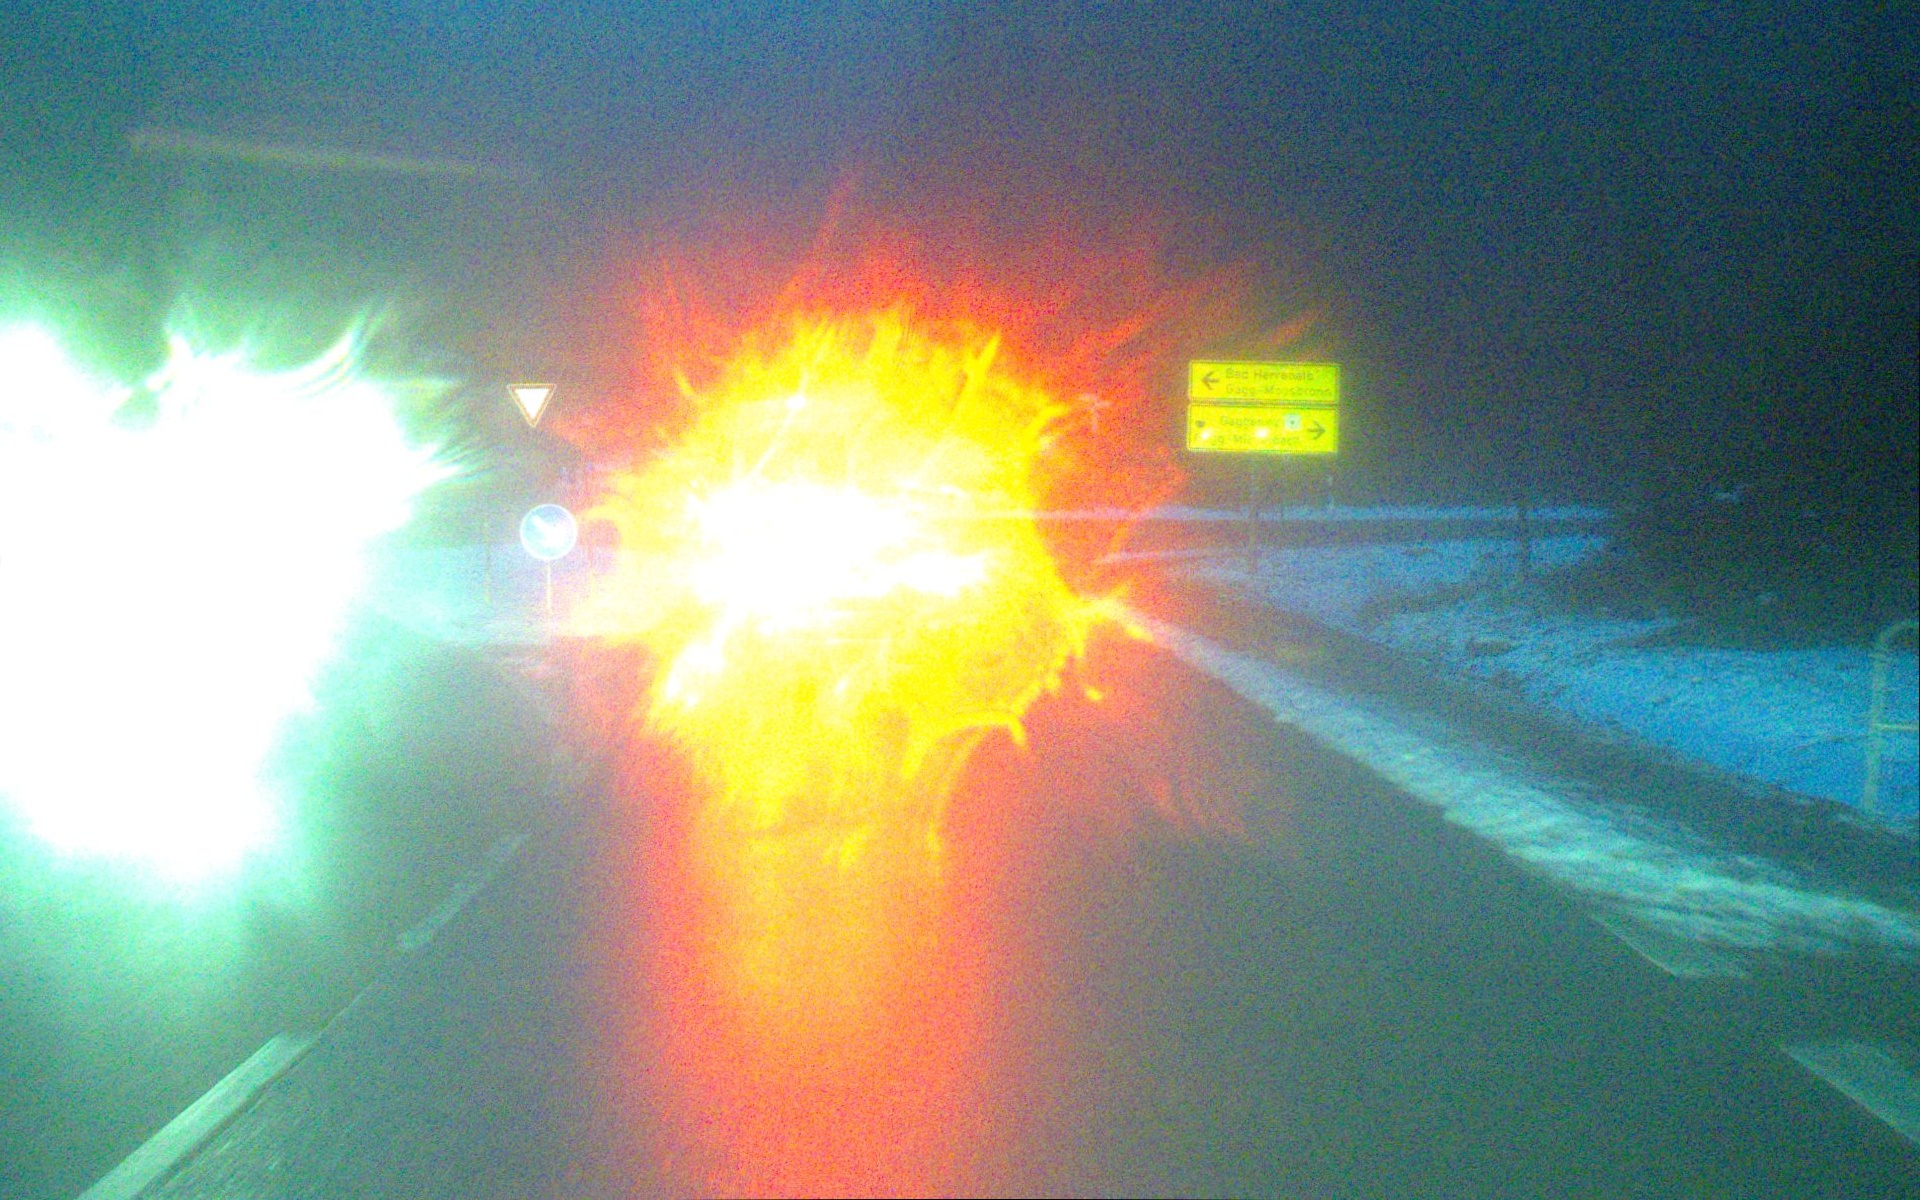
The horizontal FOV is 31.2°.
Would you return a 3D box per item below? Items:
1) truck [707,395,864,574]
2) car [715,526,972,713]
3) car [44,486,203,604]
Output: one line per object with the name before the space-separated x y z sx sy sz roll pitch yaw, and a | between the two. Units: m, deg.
truck | -2.909 -1.883 56.183 2.075 2.736 5.321 1 2 -8
car | -1.001 0.106 27.854 1.921 1.272 4.001 1 3 -4
car | -11.538 -0.800 47.606 1.741 1.481 4.006 -2 3 -8
